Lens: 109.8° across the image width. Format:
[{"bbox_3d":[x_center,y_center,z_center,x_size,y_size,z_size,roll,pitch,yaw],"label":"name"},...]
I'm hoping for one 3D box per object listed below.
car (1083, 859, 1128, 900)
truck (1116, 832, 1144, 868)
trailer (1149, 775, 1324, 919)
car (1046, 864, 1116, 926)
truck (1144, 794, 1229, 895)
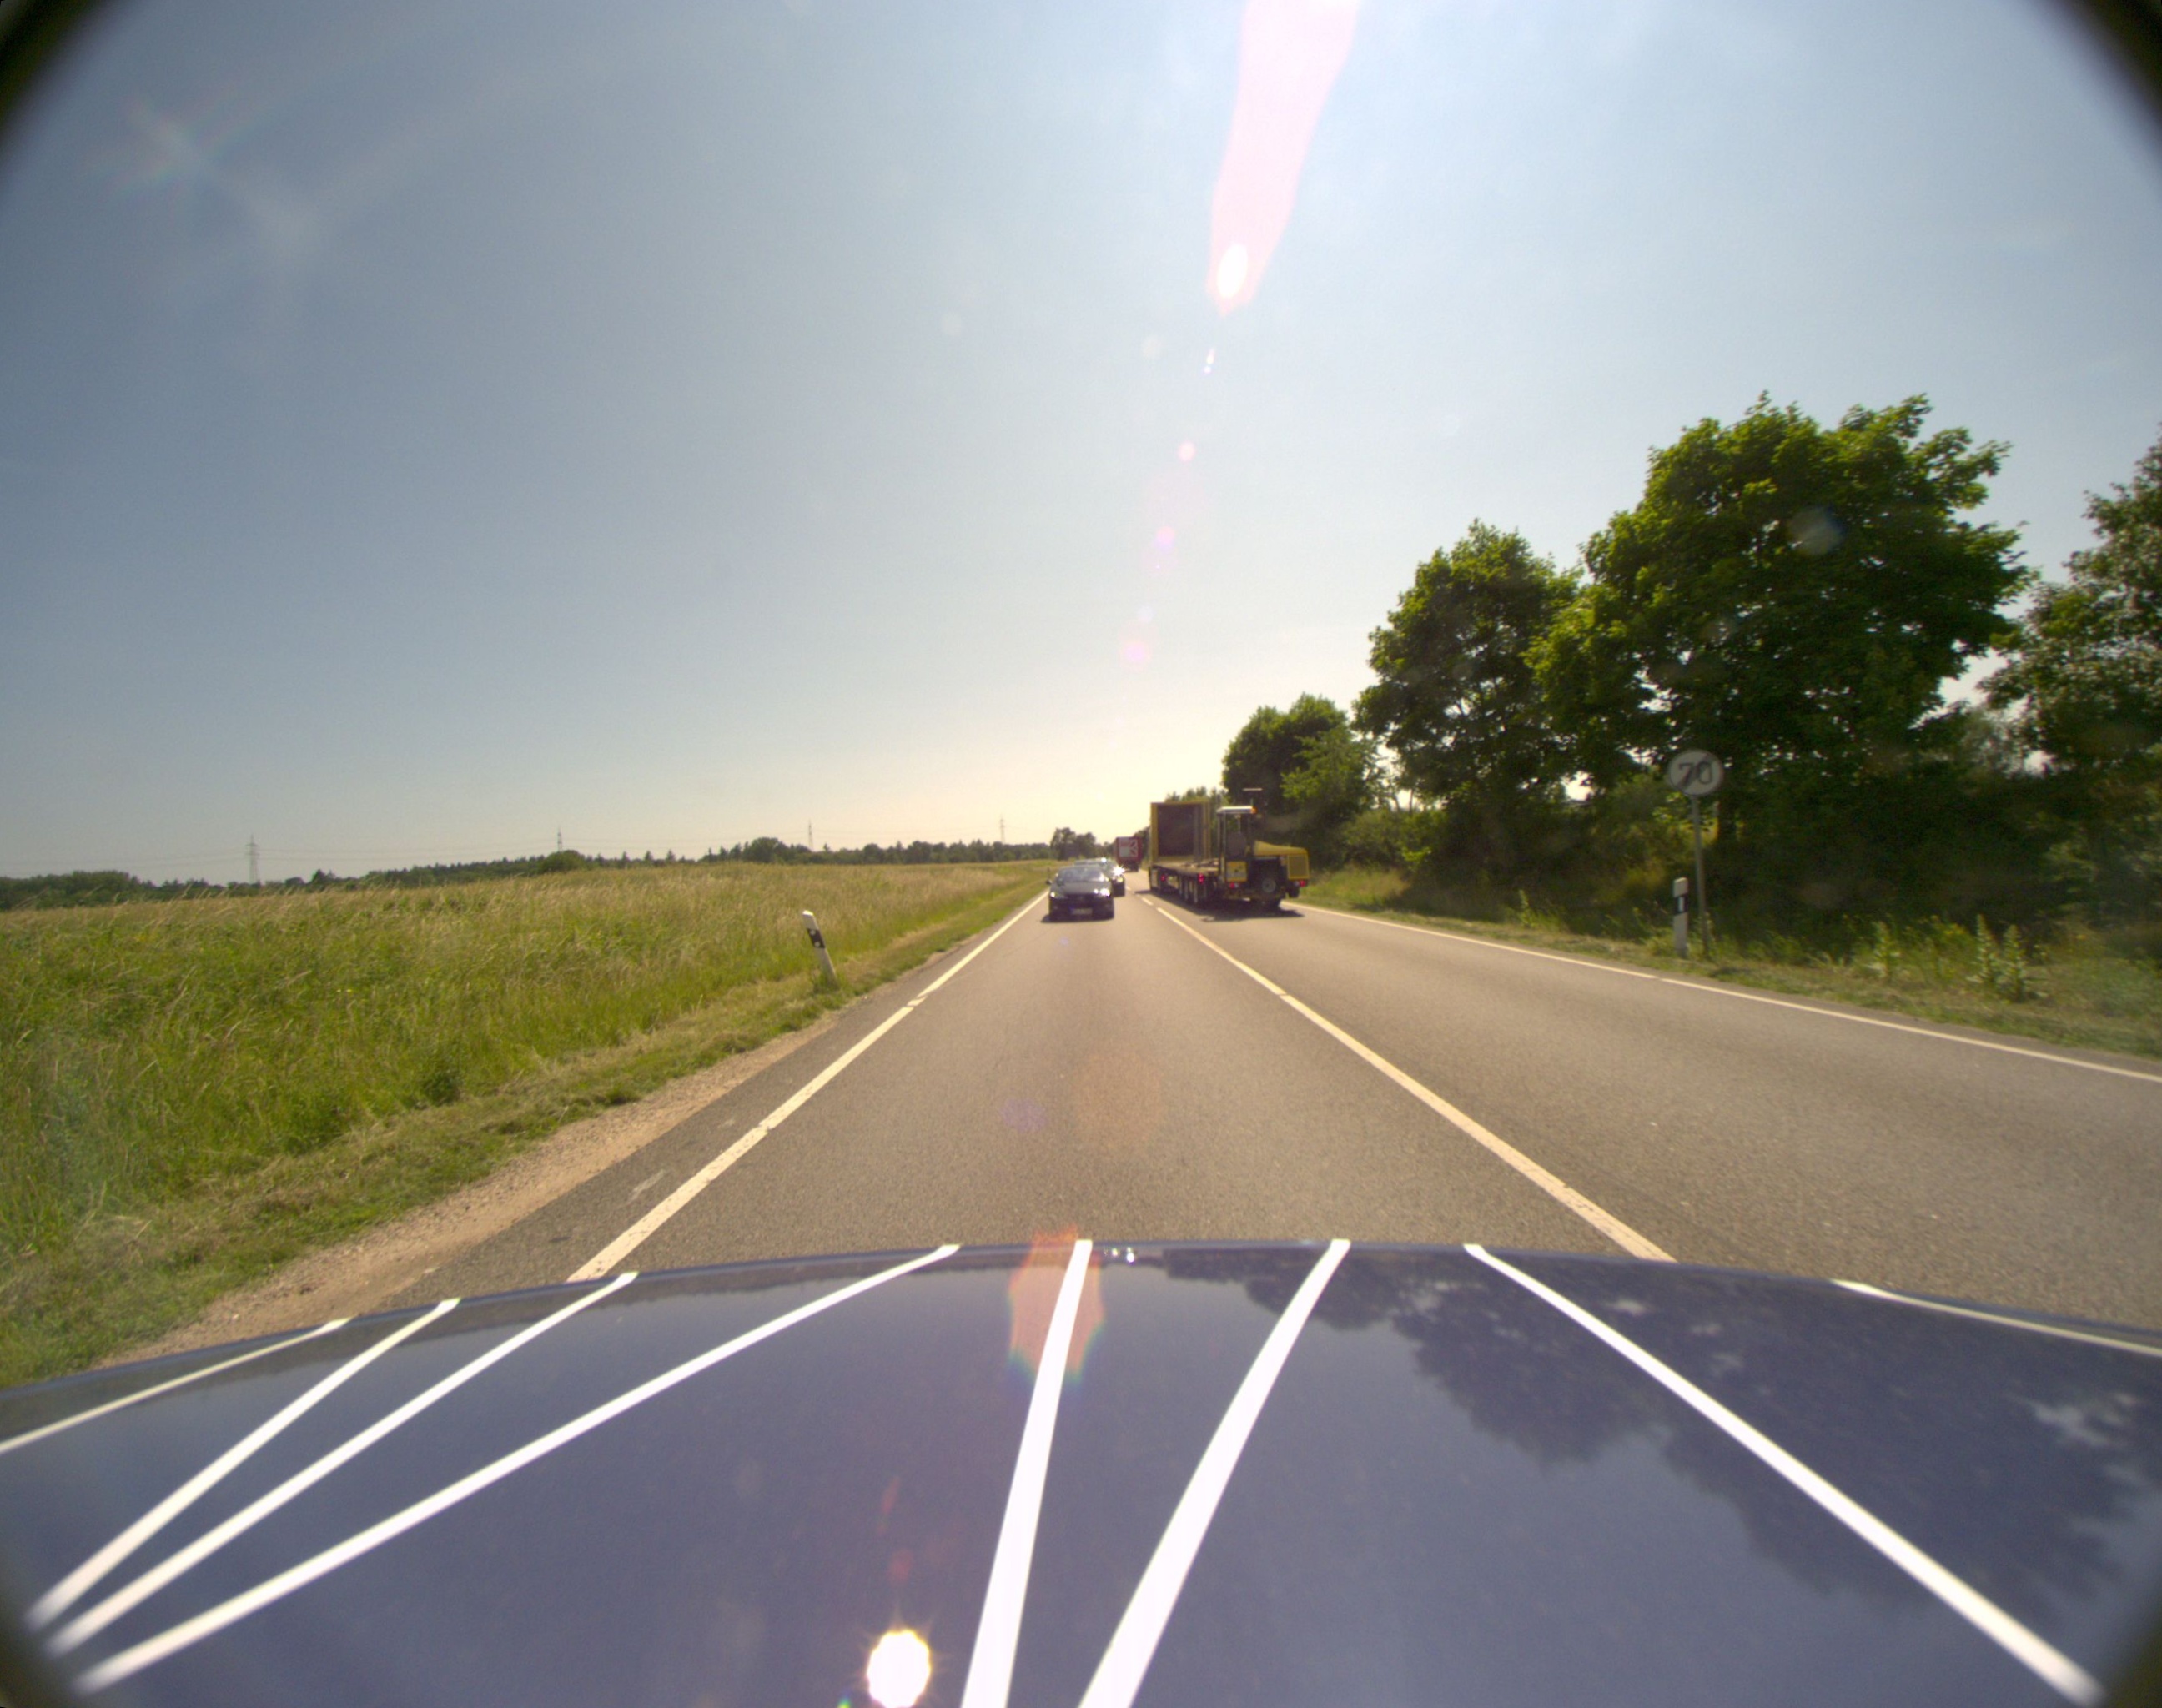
[{"bbox_3d":[1.018,0.993,30.960,1.665,1.477,3.732,-2,0,2],"label":"car"},{"bbox_3d":[5.384,-0.413,84.953,2.769,3.711,10.548,-2,0,2],"label":"truck"},{"bbox_3d":[4.473,-0.128,26.008,2.669,3.440,14.948,-2,0,-1],"label":"trailer"},{"bbox_3d":[0.031,1.032,20.569,1.665,1.389,3.731,-2,0,1],"label":"car"},{"bbox_3d":[4.415,-0.355,32.932,2.709,3.908,5.952,-2,0,-1],"label":"truck"}]
